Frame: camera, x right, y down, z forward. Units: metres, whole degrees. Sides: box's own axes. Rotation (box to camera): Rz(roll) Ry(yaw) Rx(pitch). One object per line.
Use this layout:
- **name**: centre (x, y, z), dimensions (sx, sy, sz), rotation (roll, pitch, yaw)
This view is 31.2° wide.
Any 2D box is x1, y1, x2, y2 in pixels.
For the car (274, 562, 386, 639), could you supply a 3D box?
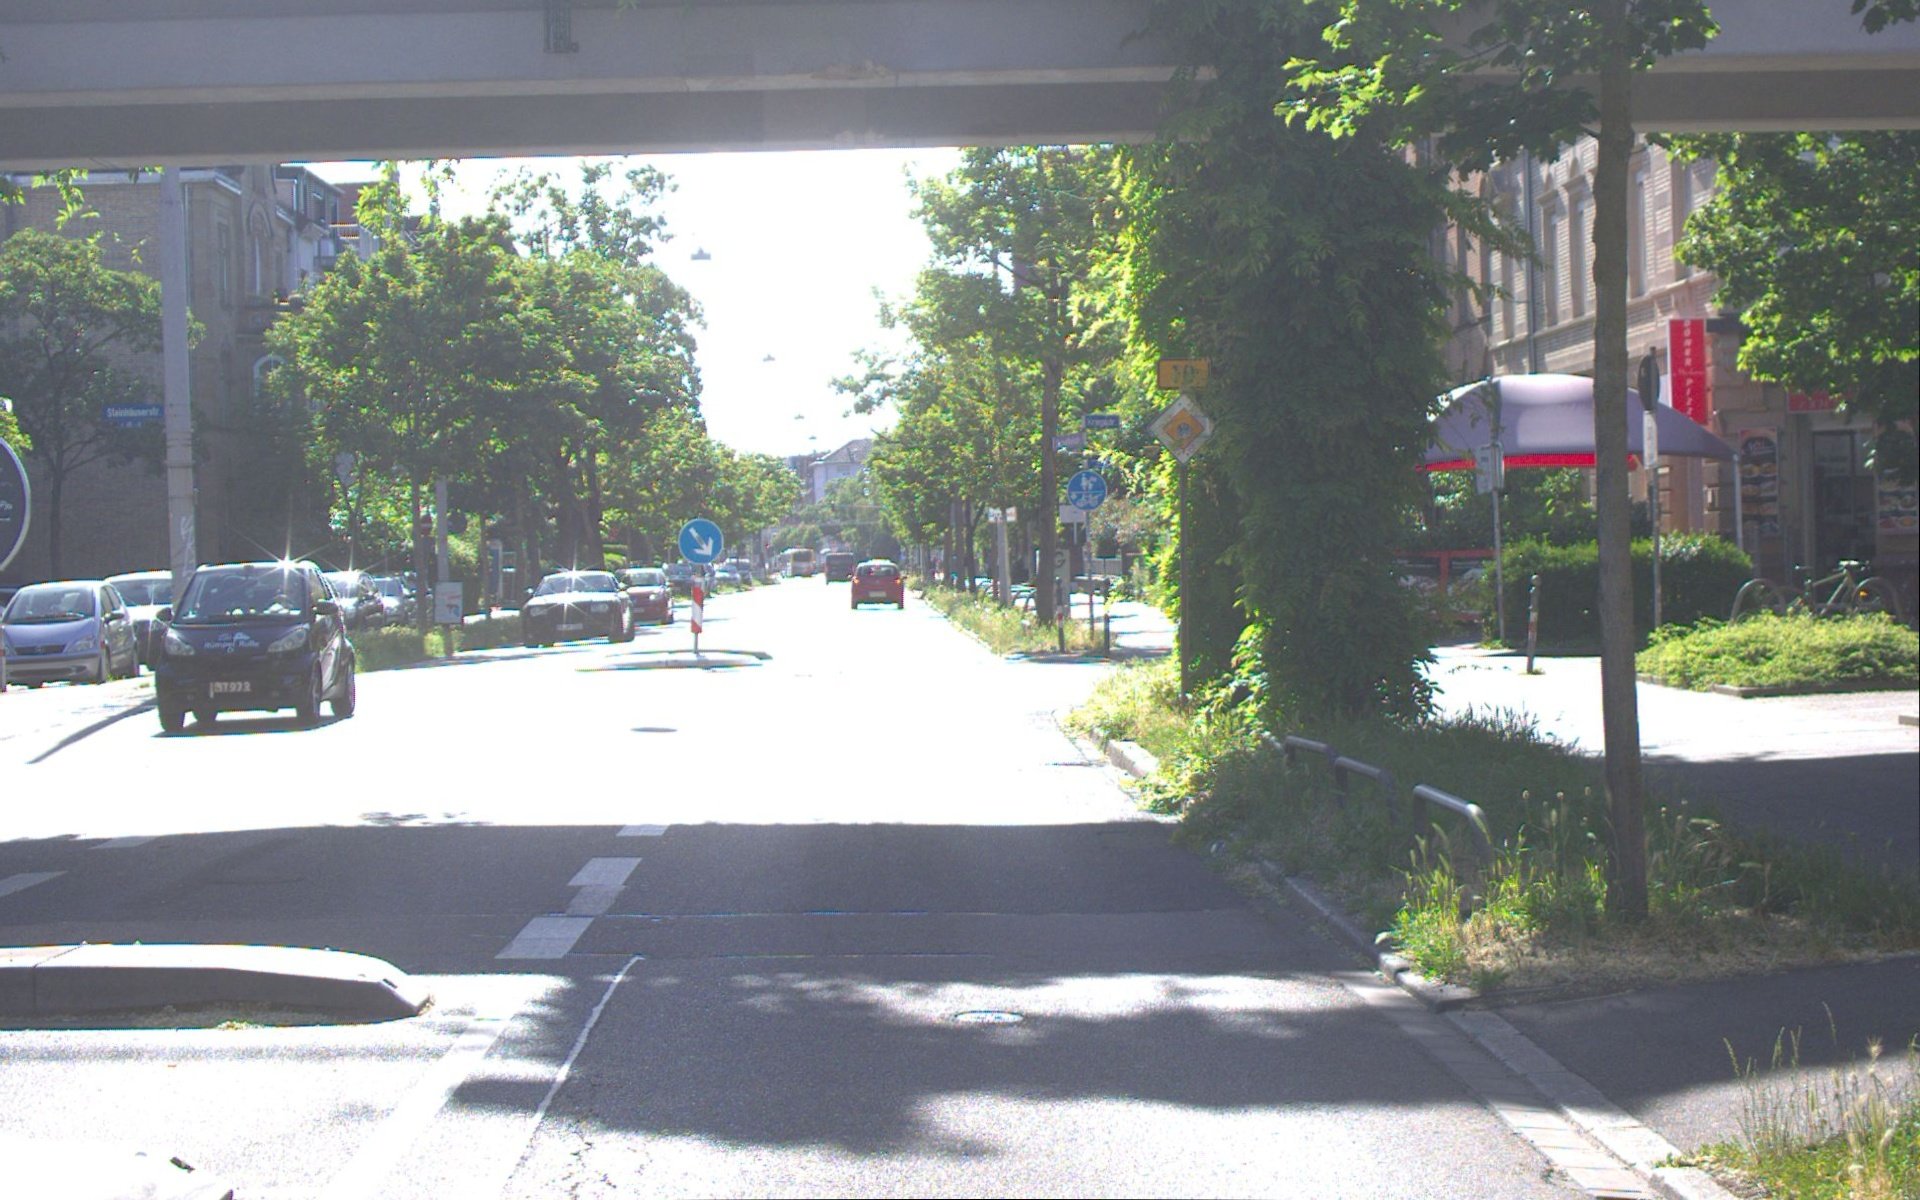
- **car**: centre (-13.695, -0.009, 74.931), dimensions (1.751, 1.548, 4.000), rotation (-2, 1, -2)

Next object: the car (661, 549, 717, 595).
- **car**: centre (-12.364, -1.288, 156.933), dimensions (2.061, 2.007, 4.629), rotation (-2, 1, 1)

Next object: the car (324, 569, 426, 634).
- **car**: centre (-13.559, 0.025, 79.893), dimensions (1.754, 1.393, 4.000), rotation (-2, 1, -2)

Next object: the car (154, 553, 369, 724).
- **car**: centre (-6.689, 0.334, 33.150), dimensions (1.467, 1.522, 2.817), rotation (-2, 1, 0)

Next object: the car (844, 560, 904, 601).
- **car**: centre (-2.725, -0.633, 109.634), dimensions (1.797, 1.219, 4.000), rotation (-2, 1, -1)

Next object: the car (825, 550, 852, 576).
- **car**: centre (-8.632, -2.638, 244.404), dimensions (1.758, 1.777, 4.000), rotation (-2, 1, 0)

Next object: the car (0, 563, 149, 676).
- **car**: centre (-12.994, 0.258, 50.000), dimensions (1.719, 1.513, 3.532), rotation (-3, 1, -4)

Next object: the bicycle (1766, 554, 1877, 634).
- **bicycle**: centre (11.040, -0.082, 44.051), dimensions (1.308, 0.970, 0.393), rotation (-2, 1, -12)

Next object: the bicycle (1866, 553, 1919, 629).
- **bicycle**: centre (12.566, -0.131, 45.001), dimensions (1.308, 0.970, 0.393), rotation (-2, 1, -12)

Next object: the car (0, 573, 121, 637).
- **car**: centre (-24.772, 0.148, 92.538), dimensions (3.986, 1.624, 1.688), rotation (-2, 1, -5)

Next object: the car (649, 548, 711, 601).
- **car**: centre (-11.166, -1.054, 137.336), dimensions (1.993, 2.007, 4.205), rotation (-2, 1, 1)

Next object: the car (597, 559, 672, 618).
- **car**: centre (-8.377, -0.309, 88.660), dimensions (1.651, 1.423, 3.507), rotation (-2, 1, -2)

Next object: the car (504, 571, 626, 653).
- **car**: centre (-7.750, 0.216, 67.755), dimensions (1.866, 1.453, 4.593), rotation (-2, 1, -1)

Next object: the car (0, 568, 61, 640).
- **car**: centre (-23.263, 0.126, 80.521), dimensions (3.986, 1.624, 1.688), rotation (-2, 1, -5)

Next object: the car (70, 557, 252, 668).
- **car**: centre (-12.814, 0.171, 55.402), dimensions (1.868, 1.622, 4.505), rotation (-3, 1, -1)
